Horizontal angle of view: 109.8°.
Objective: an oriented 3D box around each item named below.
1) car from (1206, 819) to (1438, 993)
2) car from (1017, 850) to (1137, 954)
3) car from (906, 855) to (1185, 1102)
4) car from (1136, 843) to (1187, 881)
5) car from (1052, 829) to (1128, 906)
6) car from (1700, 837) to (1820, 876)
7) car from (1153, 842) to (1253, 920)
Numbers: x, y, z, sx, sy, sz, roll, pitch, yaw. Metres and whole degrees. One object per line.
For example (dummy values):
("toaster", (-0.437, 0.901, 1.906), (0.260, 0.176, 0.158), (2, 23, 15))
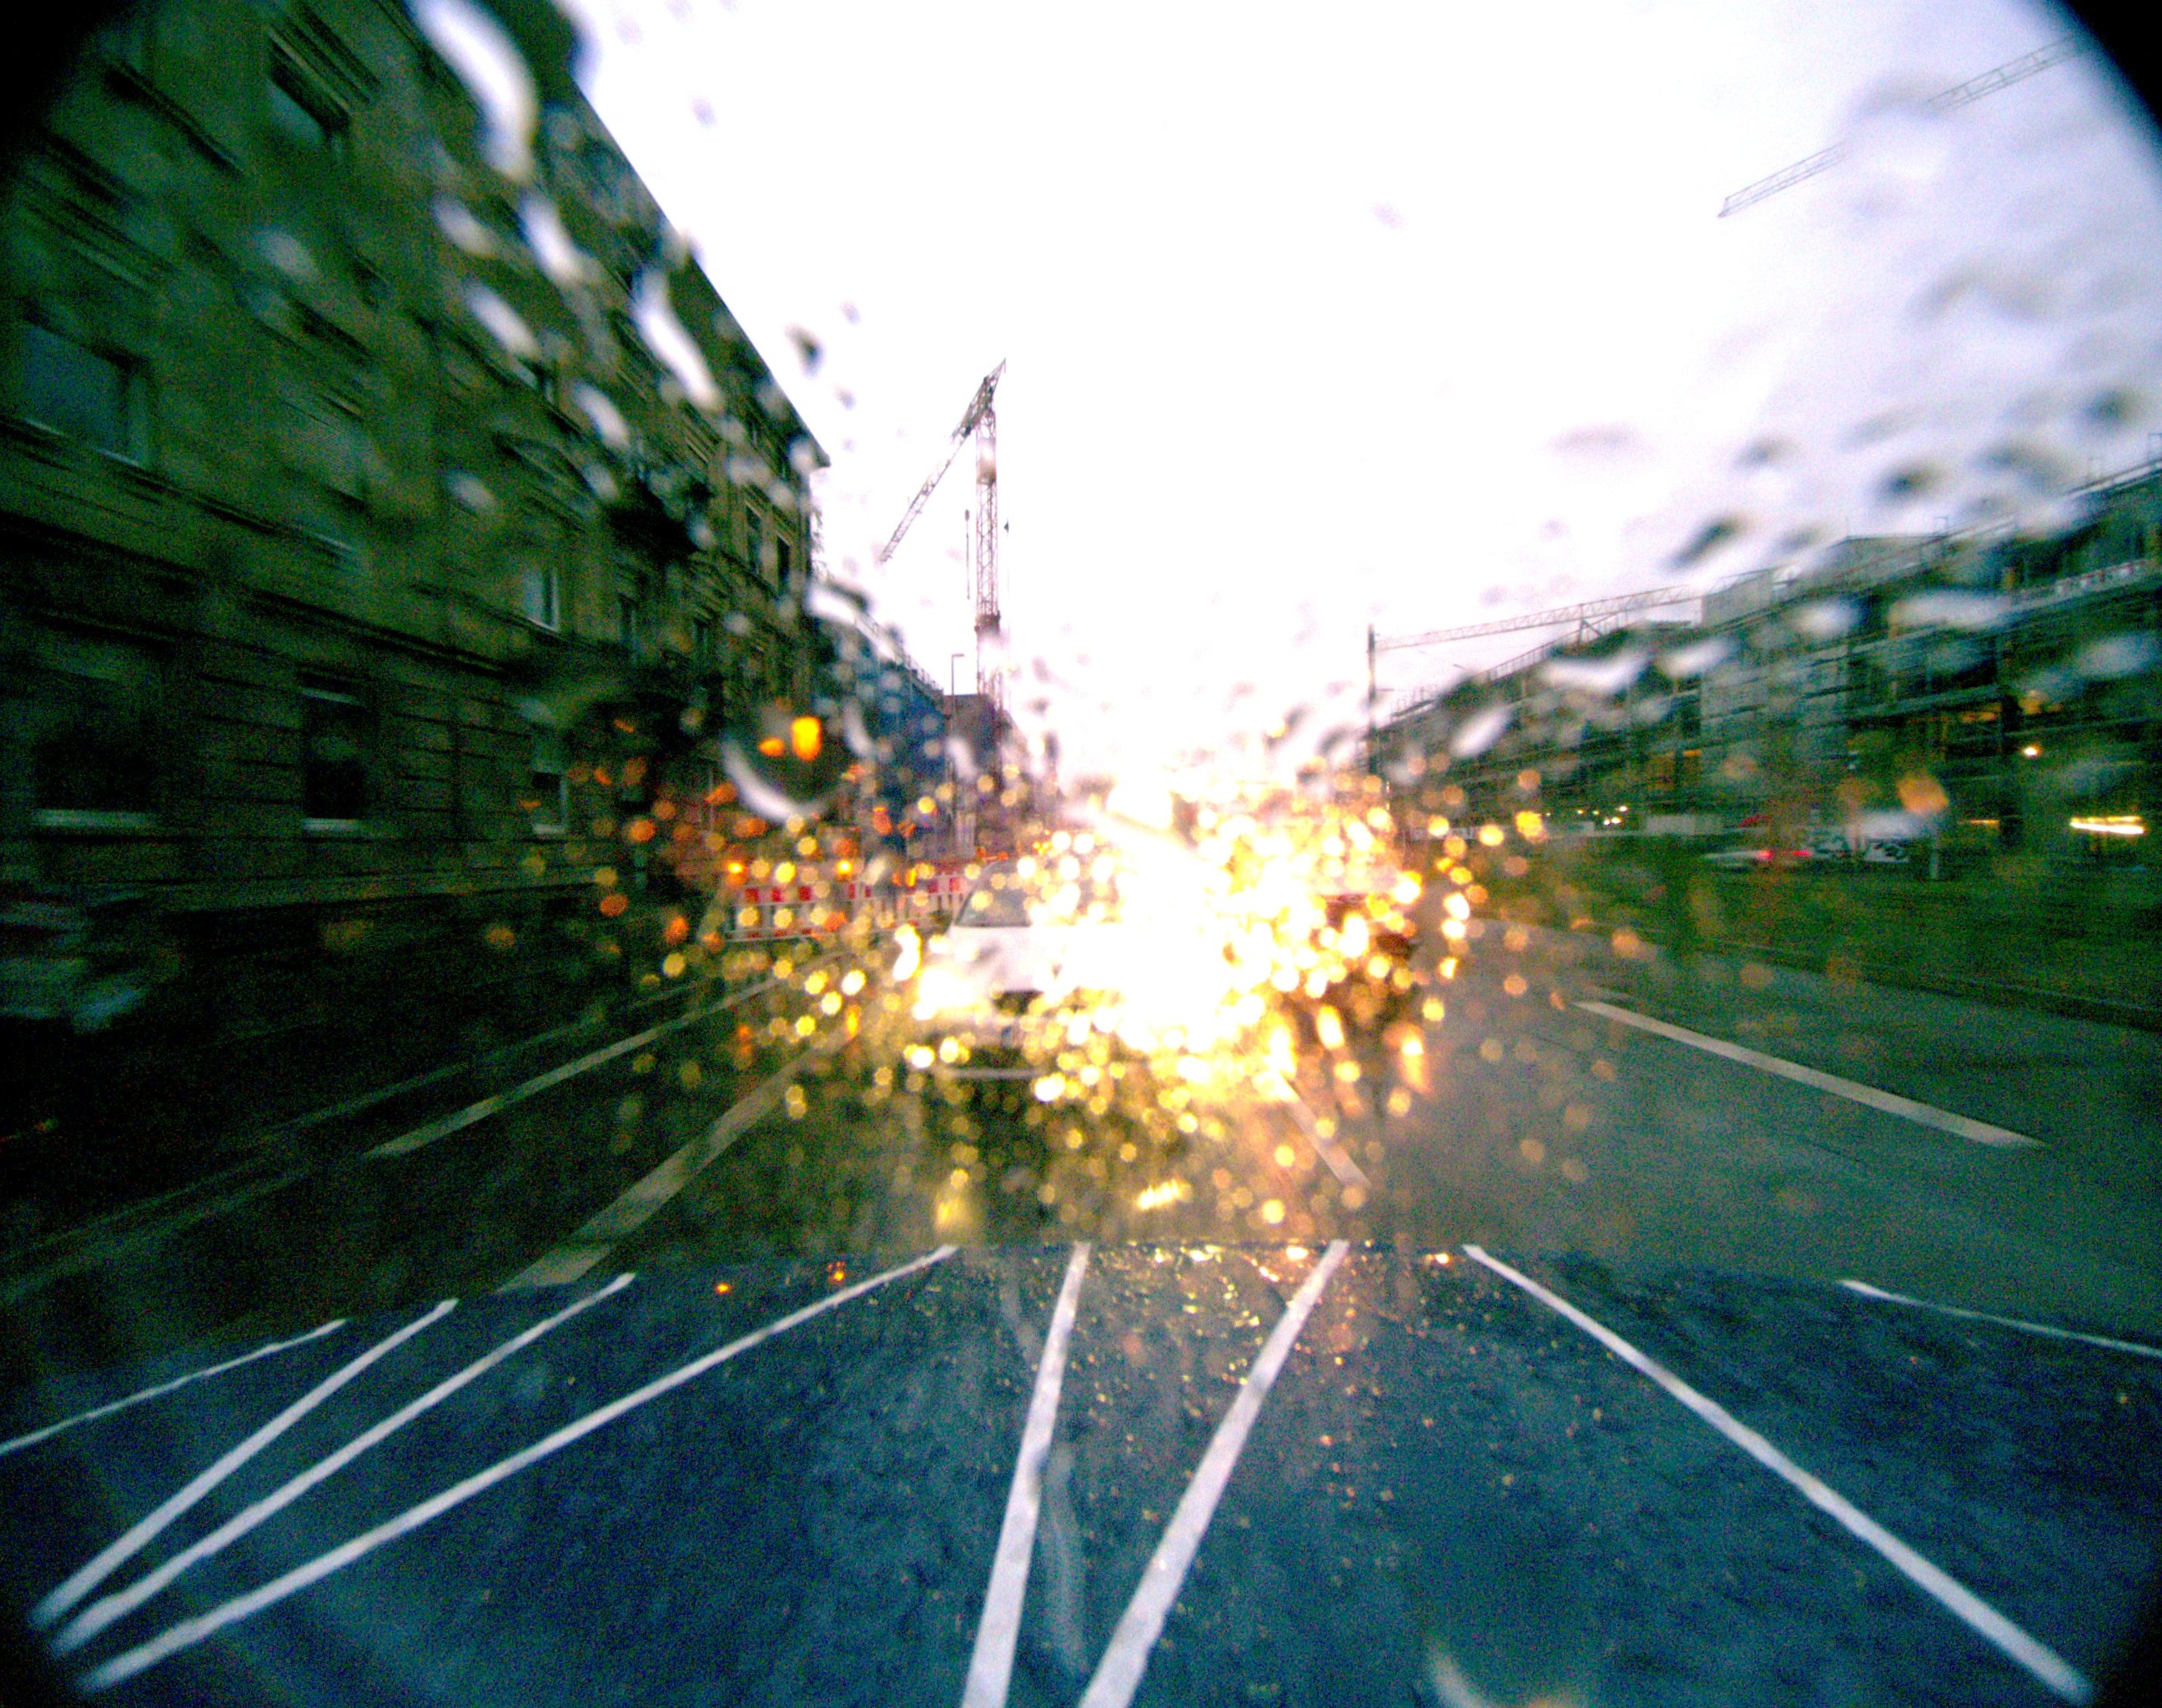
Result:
("car", (2.795, 0.494, 9.792), (1.857, 1.724, 4.000), (-2, 1, 3))
("car", (-0.098, 0.717, 13.505), (1.764, 1.444, 3.998), (-2, 1, -1))
("car", (-0.264, 0.821, 6.972), (1.764, 1.444, 3.998), (-2, 1, -1))
("car", (3.598, 0.314, 34.654), (1.844, 1.547, 3.999), (-2, 1, 0))
("car", (0.185, 0.299, 21.239), (1.858, 1.886, 3.998), (-2, 1, -1))
("car", (31.662, 0.063, 35.606), (1.958, 1.677, 4.082), (-2, 1, -1))
("car", (2.964, 0.580, 19.346), (1.844, 1.645, 4.323), (-2, 1, 1))
